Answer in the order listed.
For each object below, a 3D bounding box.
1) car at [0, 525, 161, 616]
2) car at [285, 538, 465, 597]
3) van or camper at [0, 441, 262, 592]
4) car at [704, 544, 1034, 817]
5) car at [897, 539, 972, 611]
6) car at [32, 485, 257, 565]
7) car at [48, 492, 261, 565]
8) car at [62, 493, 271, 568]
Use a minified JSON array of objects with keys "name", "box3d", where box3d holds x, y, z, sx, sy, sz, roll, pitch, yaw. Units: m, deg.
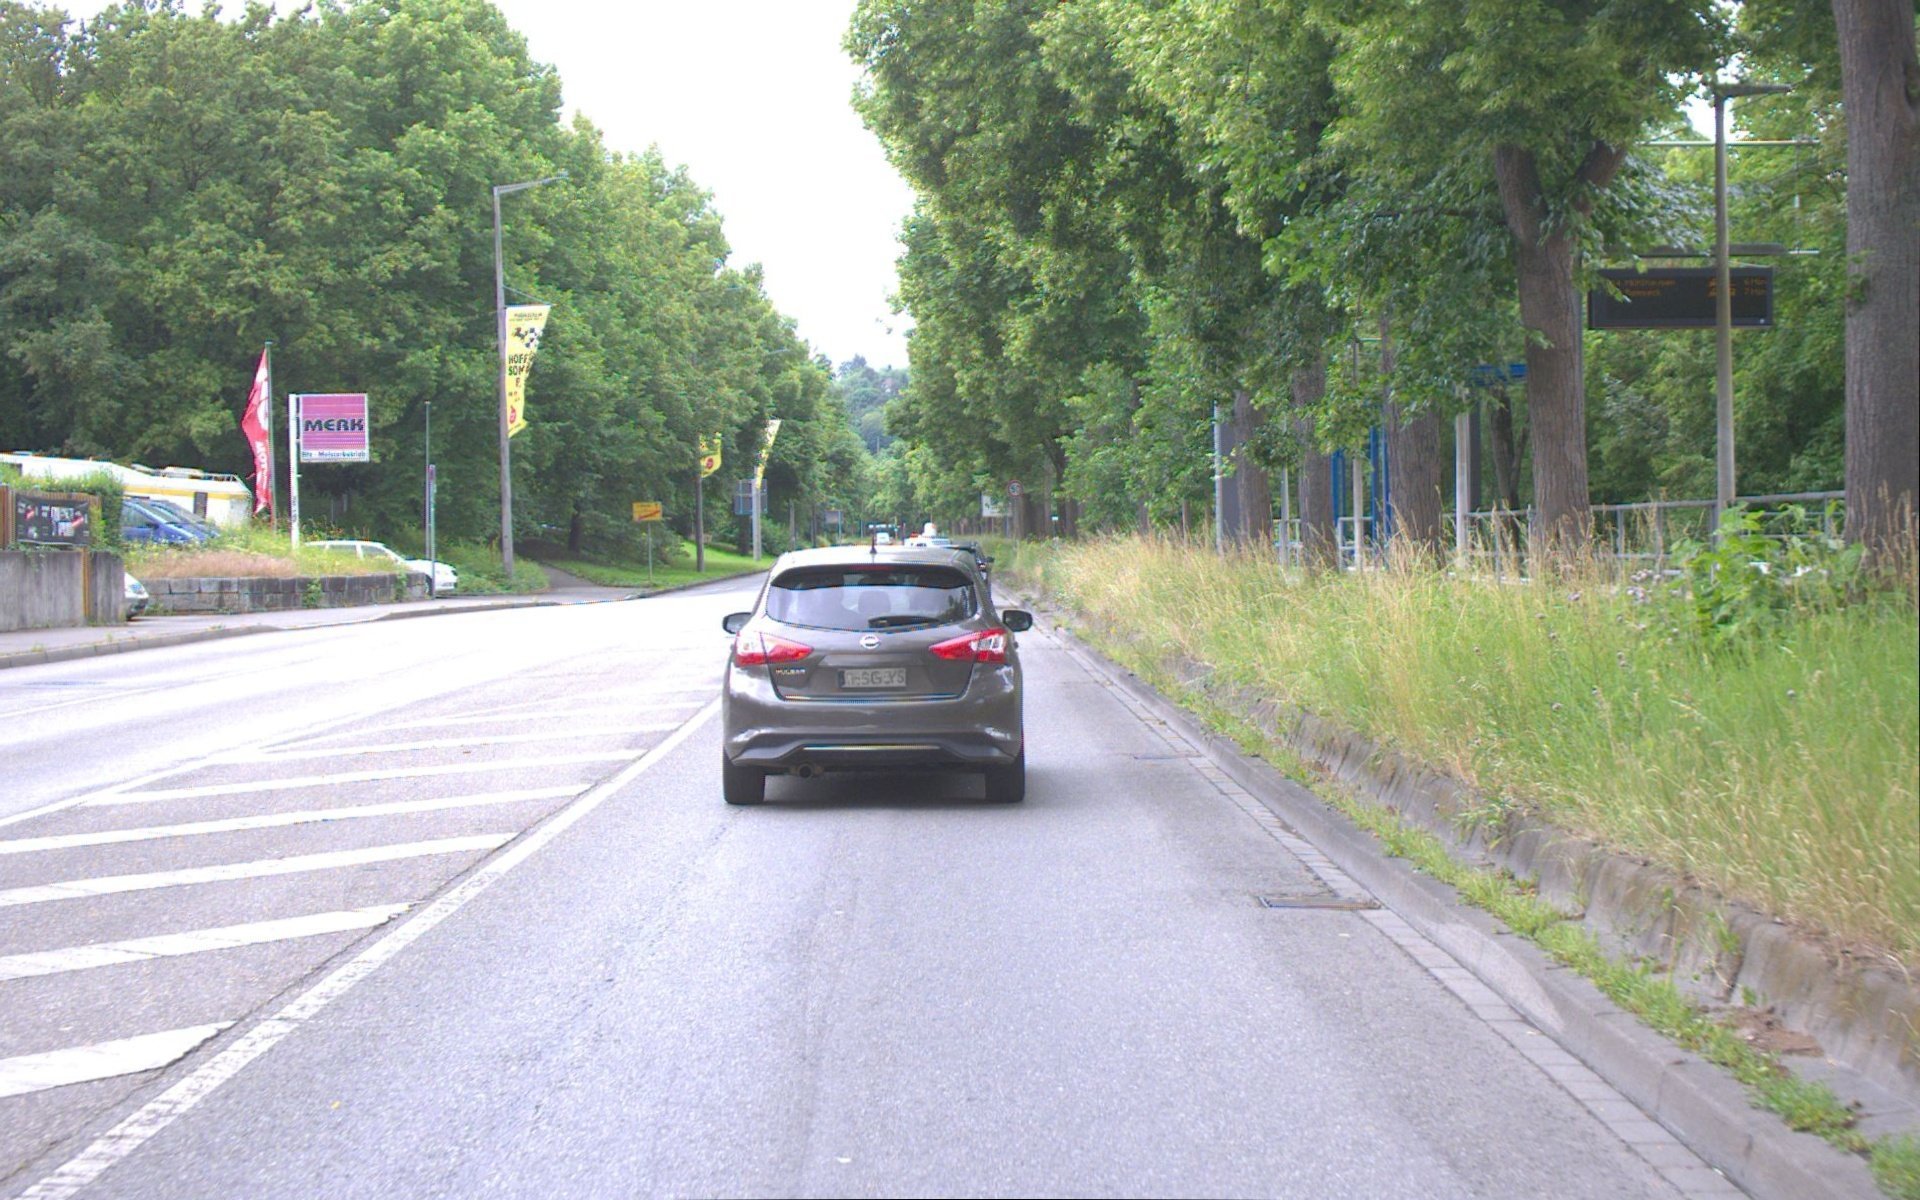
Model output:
[{"name":"car","box3d":[-16.969,-0.555,63.317,3.987,1.612,2.000,1,0,1]},{"name":"car","box3d":[-15.139,-0.840,89.135,4.374,1.436,1.961,1,1,-2]},{"name":"van or camper","box3d":[-22.034,-2.196,88.918,7.141,3.359,2.796,5,1,0]},{"name":"car","box3d":[-0.472,0.430,21.332,1.837,1.523,3.929,0,1,1]},{"name":"car","box3d":[-0.541,-0.554,74.760,1.503,1.523,3.671,1,1,1]},{"name":"car","box3d":[-16.330,-1.498,68.931,3.987,1.492,1.859,1,0,4]},{"name":"car","box3d":[-16.570,-1.460,70.802,3.987,1.406,1.533,1,0,5]},{"name":"car","box3d":[-16.777,-1.462,72.761,3.987,1.487,1.647,1,0,5]}]
